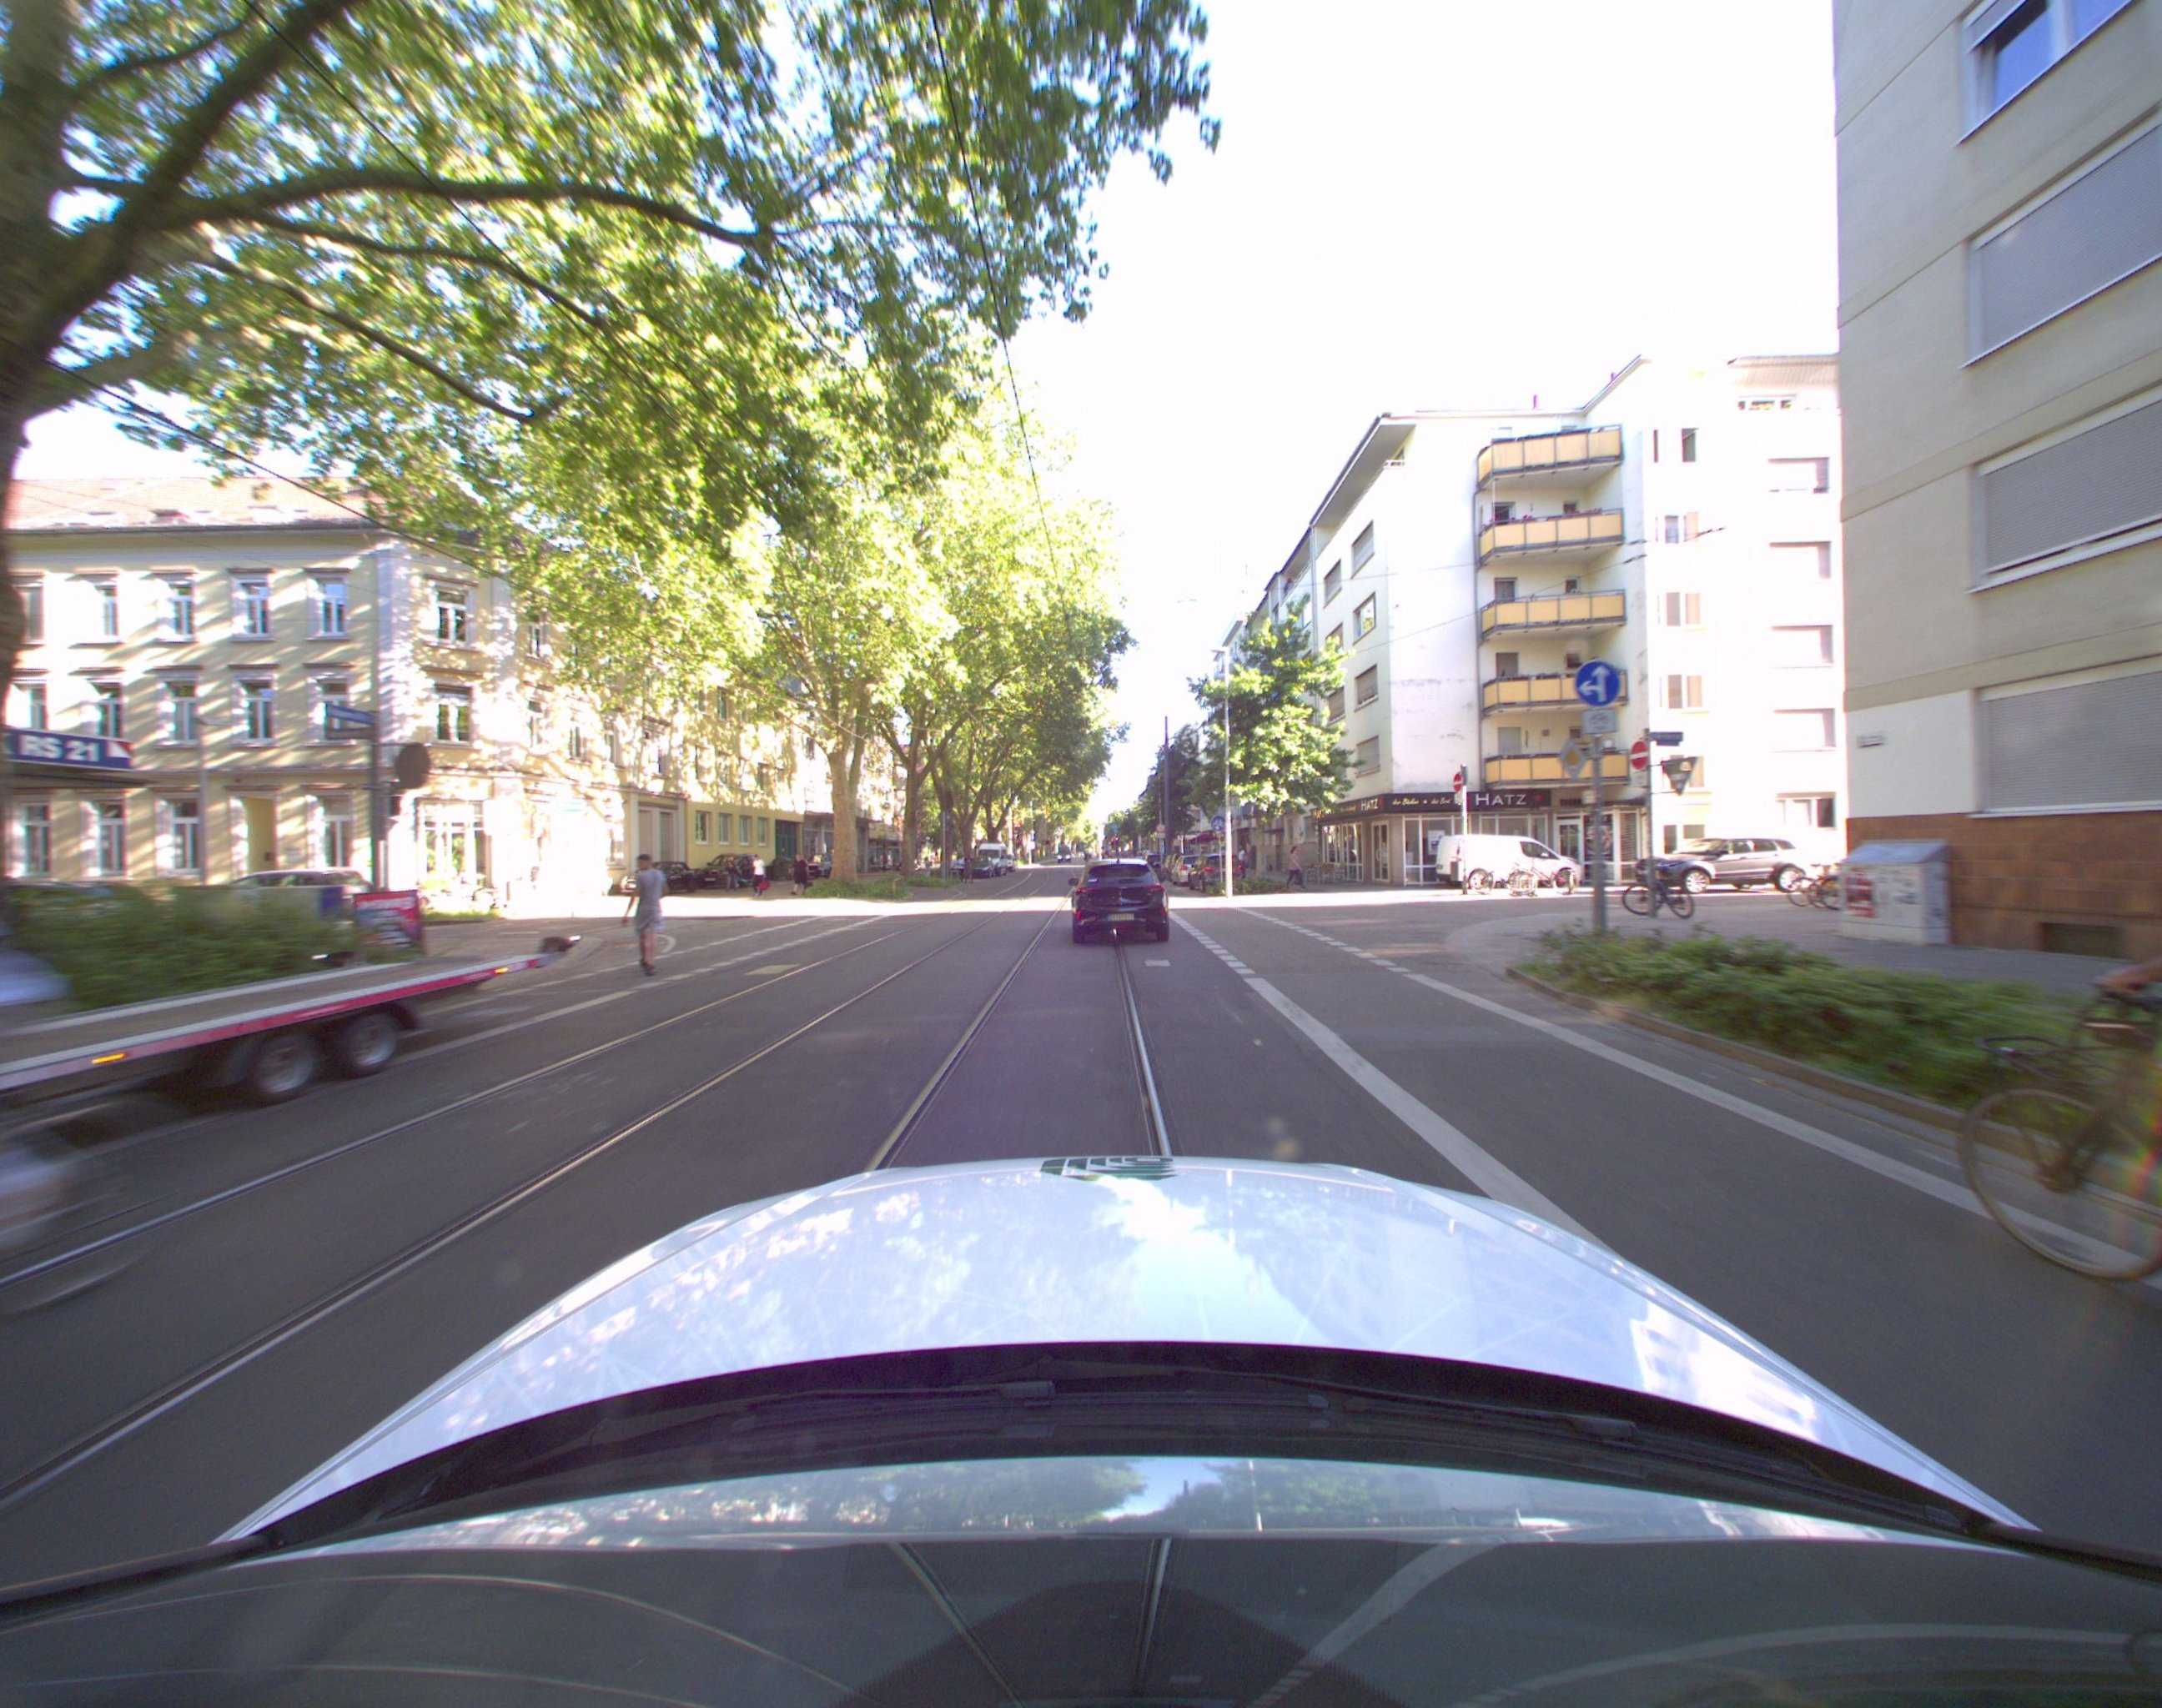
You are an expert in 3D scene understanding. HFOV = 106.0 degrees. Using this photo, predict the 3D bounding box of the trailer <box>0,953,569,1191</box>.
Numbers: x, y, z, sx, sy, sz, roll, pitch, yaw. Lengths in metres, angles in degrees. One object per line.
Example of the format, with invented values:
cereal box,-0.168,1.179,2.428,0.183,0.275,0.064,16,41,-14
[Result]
trailer,-6.396,1.394,5.213,2.154,0.632,6.399,-3,0,0

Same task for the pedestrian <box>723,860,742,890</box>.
pedestrian,-16.532,0.981,38.653,0.549,1.403,0.650,-2,0,4

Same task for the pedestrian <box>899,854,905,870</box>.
pedestrian,-17.799,0.837,81.032,0.505,1.583,0.526,-1,0,-2

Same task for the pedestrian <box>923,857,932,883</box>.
pedestrian,-9.519,1.012,50.543,0.506,1.583,0.525,-1,0,-9

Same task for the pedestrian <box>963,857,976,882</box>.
pedestrian,-6.989,0.959,50.943,0.681,1.583,0.557,-1,0,-1

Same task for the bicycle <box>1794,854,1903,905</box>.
bicycle,16.591,0.539,17.620,1.957,1.015,0.488,-2,0,-3

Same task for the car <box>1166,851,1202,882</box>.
car,5.500,0.662,43.719,1.644,1.574,3.086,-1,0,3

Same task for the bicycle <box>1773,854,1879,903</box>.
bicycle,16.595,0.543,18.155,1.957,1.015,0.488,-2,0,-2

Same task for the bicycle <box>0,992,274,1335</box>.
bicycle,-3.794,1.094,2.592,0.519,0.962,1.928,-1,0,0

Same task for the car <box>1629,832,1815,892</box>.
car,18.584,0.225,23.753,3.991,1.606,1.804,-1,0,0

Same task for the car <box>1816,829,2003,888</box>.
car,23.928,0.131,23.622,3.632,1.571,1.732,-1,0,0

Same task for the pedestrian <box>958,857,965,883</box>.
pedestrian,-7.372,0.961,50.319,0.345,1.583,0.508,-1,0,-1

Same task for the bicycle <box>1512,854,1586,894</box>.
bicycle,13.710,0.592,23.914,1.759,1.117,0.616,-2,0,14

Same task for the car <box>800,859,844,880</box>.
car,-17.404,1.041,54.878,1.689,1.276,3.829,-1,0,1

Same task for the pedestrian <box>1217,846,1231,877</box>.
pedestrian,7.640,0.414,43.577,0.598,1.651,0.631,-1,0,2

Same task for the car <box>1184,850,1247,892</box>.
car,5.527,0.671,33.926,1.714,1.574,4.080,-1,0,-3

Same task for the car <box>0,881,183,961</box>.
car,-22.510,1.429,17.614,3.978,1.535,1.819,-2,0,-3

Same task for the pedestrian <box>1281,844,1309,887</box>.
pedestrian,8.282,0.440,31.454,0.847,1.616,0.775,-2,0,28

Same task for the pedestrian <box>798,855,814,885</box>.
pedestrian,-15.090,0.874,44.667,0.549,1.652,0.650,-2,0,4

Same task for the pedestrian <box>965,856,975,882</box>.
pedestrian,-6.833,0.946,50.349,0.505,1.583,0.527,-1,0,0

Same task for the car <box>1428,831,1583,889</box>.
car,14.643,0.184,28.242,4.349,1.831,1.998,-1,0,-3

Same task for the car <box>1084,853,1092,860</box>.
car,1.650,0.712,202.360,1.743,1.651,4.003,-1,0,3

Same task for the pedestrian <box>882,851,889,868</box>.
pedestrian,-18.585,0.549,77.396,0.552,1.583,0.573,-1,0,-3

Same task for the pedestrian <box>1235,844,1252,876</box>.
pedestrian,8.944,0.314,44.805,0.789,1.748,0.771,-1,0,3

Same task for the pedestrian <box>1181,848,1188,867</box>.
pedestrian,9.652,0.312,75.928,0.626,1.732,0.633,-1,0,6

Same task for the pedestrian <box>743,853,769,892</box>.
pedestrian,-13.759,0.765,34.498,0.845,1.632,0.643,-1,0,-5

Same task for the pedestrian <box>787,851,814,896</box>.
pedestrian,-12.011,0.822,34.912,0.903,1.869,0.643,-1,0,-5

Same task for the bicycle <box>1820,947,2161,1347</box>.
bicycle,3.652,0.960,2.661,0.698,1.092,1.990,1,-1,1

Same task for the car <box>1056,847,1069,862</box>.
car,-3.022,0.055,131.198,1.989,2.211,5.097,-1,0,-3

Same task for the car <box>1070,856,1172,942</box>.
car,0.686,0.752,15.286,1.674,1.422,3.628,0,0,1

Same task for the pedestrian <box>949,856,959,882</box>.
pedestrian,-7.829,0.911,50.070,0.505,1.583,0.526,-1,0,-3

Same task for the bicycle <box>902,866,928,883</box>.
bicycle,-10.265,1.255,50.222,1.675,1.062,0.455,0,-1,31

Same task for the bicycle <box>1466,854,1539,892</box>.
bicycle,12.909,0.581,24.975,1.827,1.117,0.704,-2,0,3

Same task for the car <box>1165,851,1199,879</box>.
car,5.871,0.625,47.742,1.711,1.574,3.684,-1,0,3

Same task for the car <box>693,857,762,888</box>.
car,-18.043,0.908,41.712,1.675,1.517,4.002,0,0,2

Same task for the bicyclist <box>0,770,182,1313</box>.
bicyclist,-3.743,0.586,2.533,0.782,1.678,0.957,-1,0,0

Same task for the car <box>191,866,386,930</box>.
car,-23.052,1.245,23.808,3.633,1.584,2.002,-1,3,2

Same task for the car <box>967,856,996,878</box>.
car,-7.269,0.900,59.821,1.750,1.508,3.997,-1,0,-2

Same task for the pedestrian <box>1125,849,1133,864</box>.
pedestrian,6.719,0.304,114.001,0.853,2.013,1.070,-6,-1,3

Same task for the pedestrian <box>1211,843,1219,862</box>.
pedestrian,12.196,-0.148,74.142,0.626,1.732,0.633,-1,0,7

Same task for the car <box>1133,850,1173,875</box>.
car,5.106,0.590,58.165,1.992,1.640,3.990,-1,0,-7

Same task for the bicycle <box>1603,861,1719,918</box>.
bicycle,11.514,0.677,16.269,0.801,1.015,1.965,-2,0,-4

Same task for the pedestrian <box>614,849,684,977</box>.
pedestrian,-6.285,0.828,11.835,0.716,1.735,0.903,-3,0,-36

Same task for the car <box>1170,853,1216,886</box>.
car,5.389,0.735,39.518,1.713,1.490,3.681,-1,0,0

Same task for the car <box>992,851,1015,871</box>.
car,-7.247,0.638,76.642,1.990,1.717,3.994,-1,0,-4

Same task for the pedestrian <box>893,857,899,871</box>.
pedestrian,-18.536,0.987,81.558,0.505,1.333,0.526,-1,0,-2

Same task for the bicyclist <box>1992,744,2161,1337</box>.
bicyclist,3.591,0.549,2.387,0.784,1.759,0.915,-1,0,0

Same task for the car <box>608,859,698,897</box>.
car,-18.535,0.999,35.459,1.675,1.464,4.002,-1,0,2

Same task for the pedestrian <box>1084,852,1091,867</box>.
pedestrian,0.737,0.626,89.410,0.594,1.590,0.891,-1,0,-6

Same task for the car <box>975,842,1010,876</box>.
car,-7.122,0.377,66.108,2.085,2.584,5.997,-1,0,1
